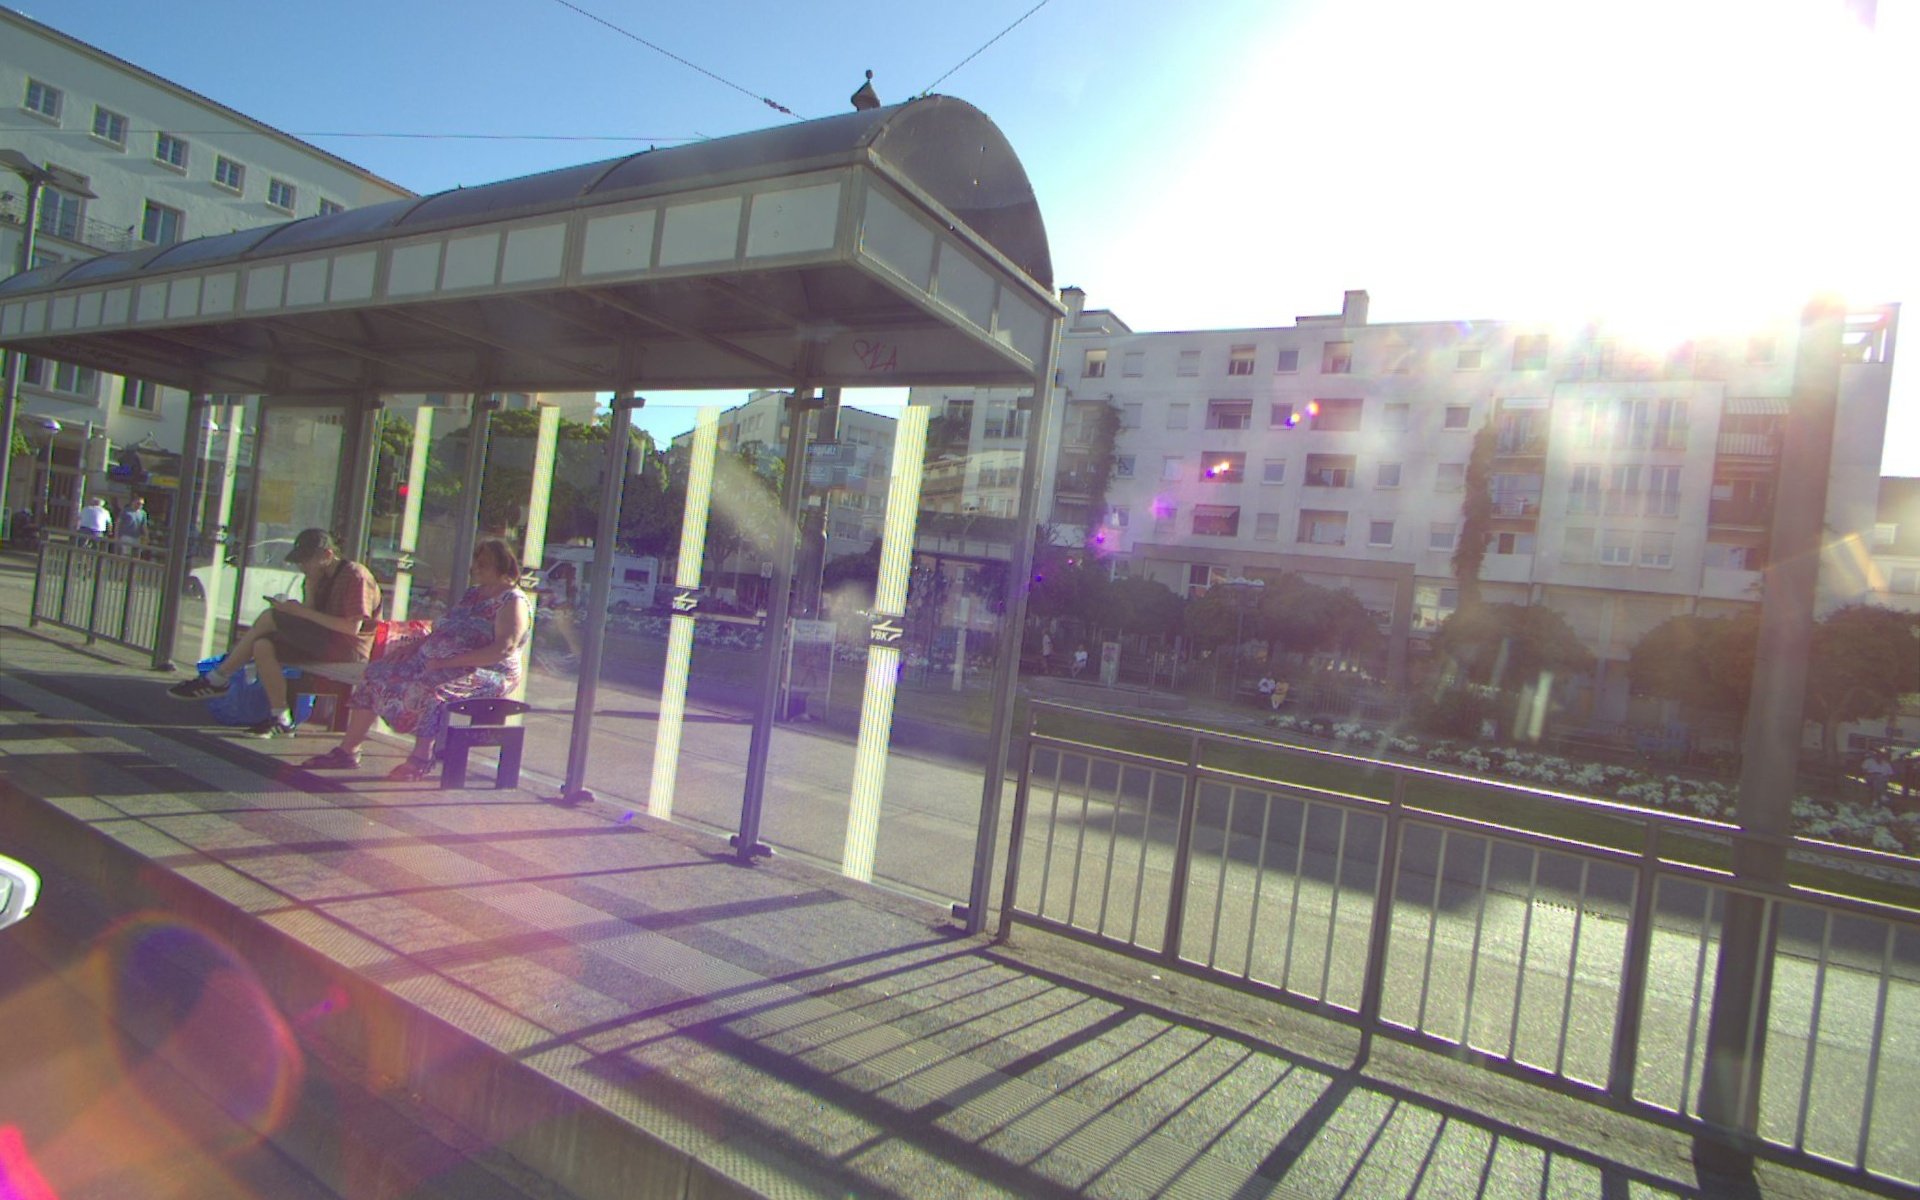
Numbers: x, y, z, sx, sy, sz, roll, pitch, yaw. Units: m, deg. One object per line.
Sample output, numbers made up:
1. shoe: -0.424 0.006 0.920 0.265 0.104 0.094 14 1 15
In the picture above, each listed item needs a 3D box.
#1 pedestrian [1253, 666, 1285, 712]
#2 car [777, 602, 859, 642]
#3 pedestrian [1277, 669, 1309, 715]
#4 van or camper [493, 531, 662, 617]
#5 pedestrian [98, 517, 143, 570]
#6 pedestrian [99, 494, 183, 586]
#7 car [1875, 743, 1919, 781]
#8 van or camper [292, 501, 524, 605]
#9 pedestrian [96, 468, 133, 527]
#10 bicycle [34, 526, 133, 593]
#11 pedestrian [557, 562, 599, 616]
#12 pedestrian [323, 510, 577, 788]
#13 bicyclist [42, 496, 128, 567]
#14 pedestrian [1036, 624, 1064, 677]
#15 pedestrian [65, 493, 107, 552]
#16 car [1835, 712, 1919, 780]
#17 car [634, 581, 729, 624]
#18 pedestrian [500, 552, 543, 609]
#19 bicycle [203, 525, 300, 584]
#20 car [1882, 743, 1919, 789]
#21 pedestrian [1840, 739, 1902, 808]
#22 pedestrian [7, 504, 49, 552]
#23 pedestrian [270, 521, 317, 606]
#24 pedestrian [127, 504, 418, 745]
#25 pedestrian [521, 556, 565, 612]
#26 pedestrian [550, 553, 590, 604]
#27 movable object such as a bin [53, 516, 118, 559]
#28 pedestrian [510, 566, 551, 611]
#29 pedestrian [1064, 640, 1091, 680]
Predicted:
1. pedestrian: 9.608 2.761 31.314 0.718 1.287 0.745 7 0 11
2. car: -6.714 1.072 47.957 1.964 1.503 4.000 7 -1 23
3. pedestrian: 10.308 2.839 31.136 0.718 1.287 0.745 7 0 11
4. van or camper: -16.502 -1.049 43.830 2.340 2.873 6.411 7 -1 35
5. pedestrian: -25.456 -1.711 30.507 0.742 1.427 0.731 11 1 32
6. pedestrian: -18.606 -1.356 22.866 1.110 1.900 0.983 6 -1 29
7. car: 39.785 6.792 40.629 3.941 1.303 1.993 7 -1 38
8. van or camper: -20.402 -1.621 37.671 2.331 2.780 7.132 9 0 32
9. pedestrian: -28.713 -3.472 34.162 0.649 1.861 0.653 7 0 35
10. bicycle: -17.840 -0.827 20.460 2.284 1.073 0.720 7 -2 30
11. pedestrian: -12.355 -0.354 32.584 0.651 1.605 0.902 7 0 35
12. pedestrian: -2.742 0.282 5.463 0.613 1.348 0.861 6 -4 31
13. bicyclist: -17.830 -1.395 20.513 0.918 1.239 0.953 7 -2 30
14. pedestrian: 3.144 1.741 35.028 0.661 1.745 1.028 7 0 11
15. pedestrian: -29.568 -2.615 34.041 0.667 1.861 0.785 7 0 35
16. car: 43.948 6.851 45.195 6.286 2.585 2.812 7 -1 28
17. car: -13.728 0.138 49.672 1.974 1.529 3.982 6 -3 43
18. pedestrian: -14.243 -0.618 32.684 0.684 1.705 0.902 7 0 35
19. bicycle: -23.539 -1.484 33.480 0.714 1.548 2.391 7 -3 31
20. car: 36.588 6.341 36.802 3.941 1.535 1.993 7 -1 38
21. pedestrian: 21.581 4.082 23.859 0.923 1.428 1.521 7 -1 42
22. pedestrian: -28.060 -2.152 30.301 0.736 1.332 0.622 7 0 -35
23. pedestrian: -14.539 -0.794 21.950 0.520 1.765 0.557 6 -1 42
24. pedestrian: -4.070 0.164 5.998 0.908 1.238 1.001 6 -4 32
25. pedestrian: -13.153 -0.497 31.715 0.651 1.605 0.902 7 0 35
26. pedestrian: -13.293 -0.736 34.330 0.651 1.604 0.902 7 0 35
27. movable object such as a bin: -28.120 -2.009 32.352 1.197 1.167 1.200 7 -1 32
28. pedestrian: -13.707 -0.357 32.105 0.595 1.295 0.901 7 -1 37
29. pedestrian: 4.071 2.064 34.854 0.718 1.287 1.042 7 0 11
